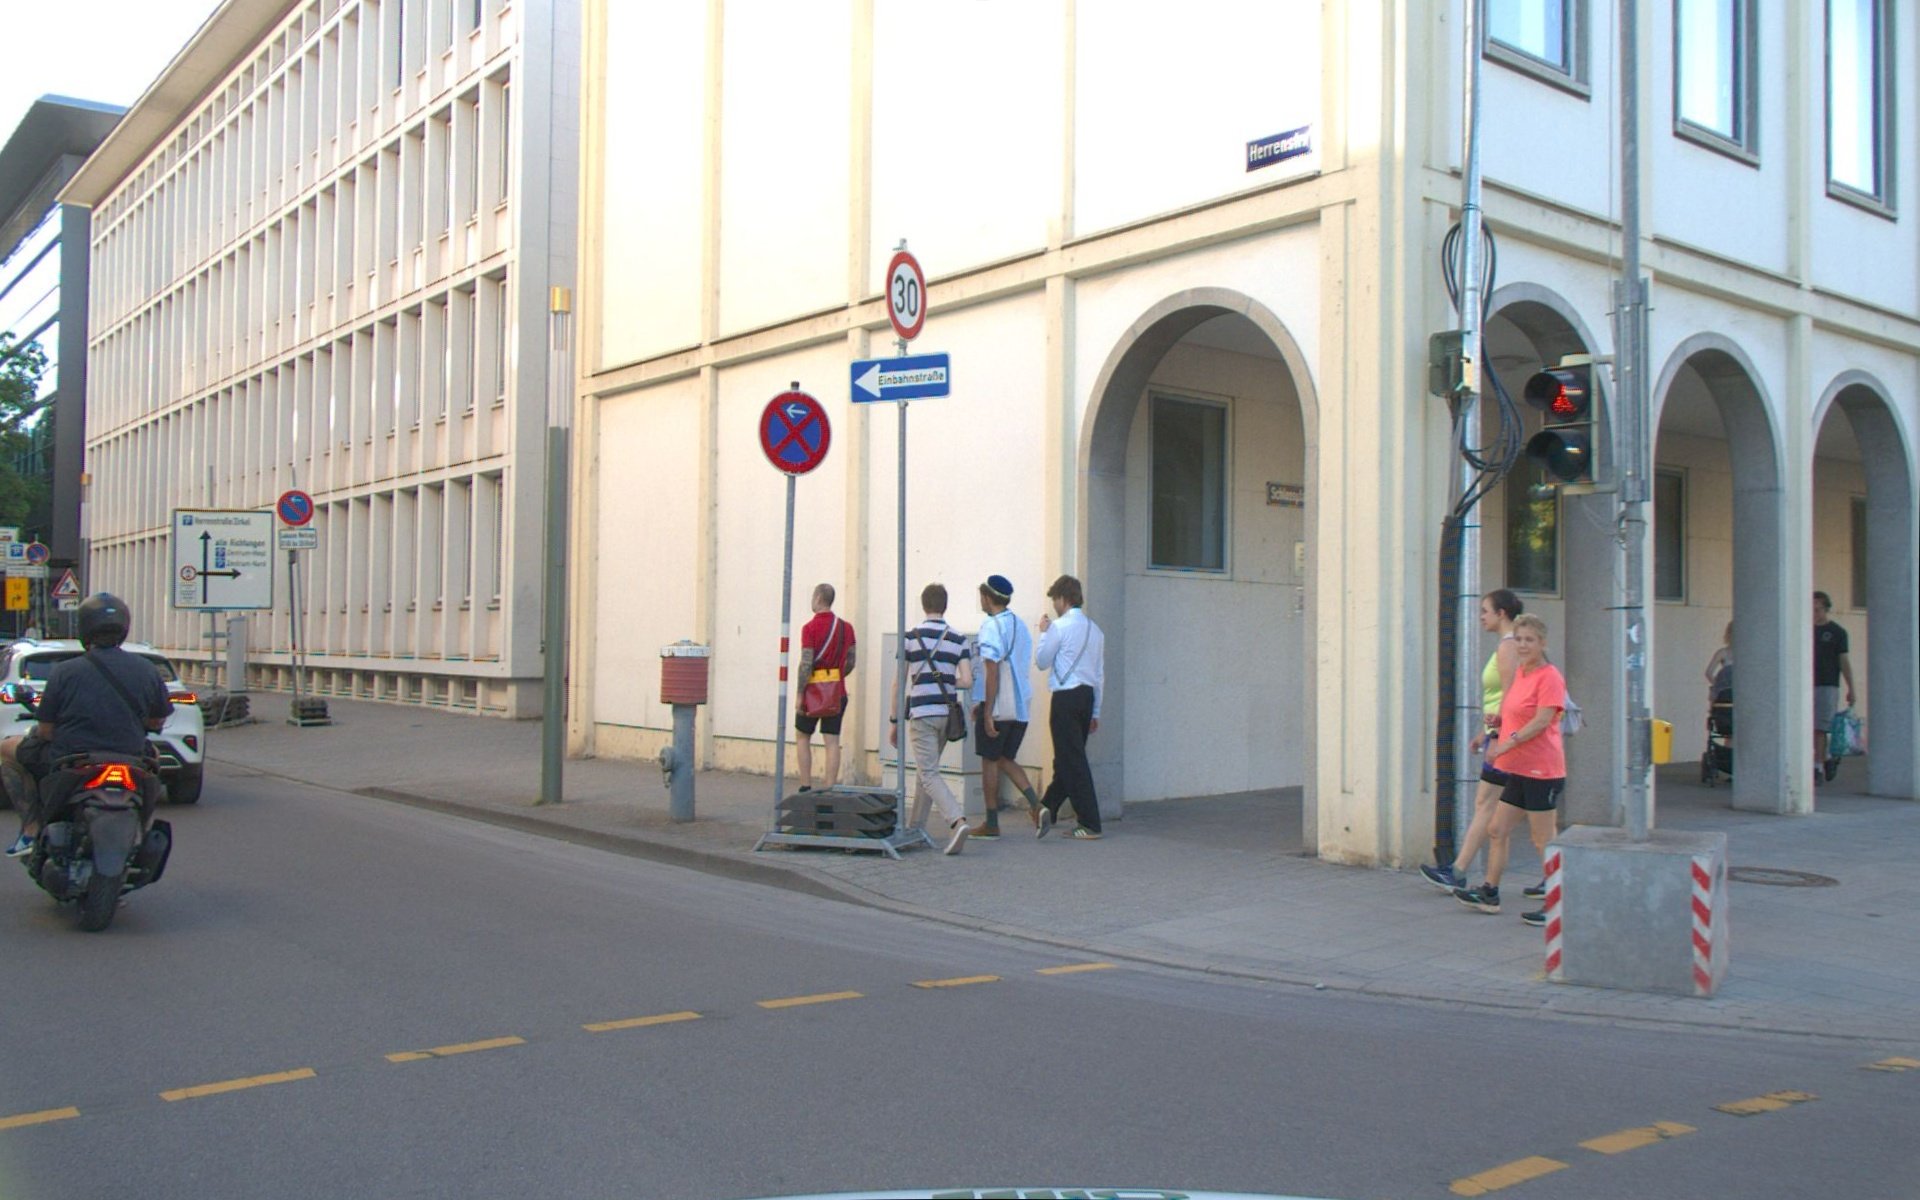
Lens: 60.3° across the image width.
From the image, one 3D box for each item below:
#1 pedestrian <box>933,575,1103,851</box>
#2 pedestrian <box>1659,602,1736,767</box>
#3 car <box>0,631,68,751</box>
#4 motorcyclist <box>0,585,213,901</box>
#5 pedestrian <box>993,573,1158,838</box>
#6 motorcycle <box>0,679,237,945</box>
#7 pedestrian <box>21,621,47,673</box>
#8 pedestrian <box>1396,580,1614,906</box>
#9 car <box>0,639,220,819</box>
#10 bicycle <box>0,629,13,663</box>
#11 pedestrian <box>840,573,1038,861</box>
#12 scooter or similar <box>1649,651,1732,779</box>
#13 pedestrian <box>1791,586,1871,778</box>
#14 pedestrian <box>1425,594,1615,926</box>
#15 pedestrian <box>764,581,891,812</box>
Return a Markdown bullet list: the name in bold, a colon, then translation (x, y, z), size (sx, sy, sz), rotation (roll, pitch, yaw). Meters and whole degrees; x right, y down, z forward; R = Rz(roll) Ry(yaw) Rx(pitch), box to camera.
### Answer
- **pedestrian**: translation (0.399, 0.753, 11.545), size (0.704, 1.808, 0.928), rotation (-2, 0, -38)
- **pedestrian**: translation (7.683, 0.864, 17.227), size (0.607, 1.652, 0.725), rotation (-1, 1, 32)
- **car**: translation (-13.944, 1.235, 23.388), size (1.761, 1.577, 4.052), rotation (0, -1, -37)
- **motorcyclist**: translation (-4.775, 0.737, 9.102), size (0.947, 1.587, 1.222), rotation (1, -2, -38)
- **pedestrian**: translation (0.827, 0.730, 11.960), size (0.704, 1.808, 0.928), rotation (-2, 0, -38)
- **motorcycle**: translation (-4.827, 1.072, 9.183), size (0.899, 1.204, 2.543), rotation (1, -2, -38)
- **pedestrian**: translation (-29.470, 1.484, 52.635), size (0.638, 1.629, 0.612), rotation (1, -1, -36)
- **pedestrian**: translation (3.113, 0.767, 9.473), size (0.669, 1.739, 0.954), rotation (-2, 1, -38)
- **car**: translation (-8.538, 1.150, 15.921), size (1.843, 1.498, 3.950), rotation (3, -3, -35)
- **bicycle**: translation (-36.528, 1.716, 62.134), size (1.539, 1.272, 0.549), rotation (0, -1, -18)
- **pedestrian**: translation (-0.161, 0.759, 11.357), size (0.709, 1.833, 1.230), rotation (-2, 0, -38)
- **scooter or similar**: translation (7.290, 1.127, 16.482), size (0.607, 1.178, 0.956), rotation (-1, 1, 32)
- **pedestrian**: translation (8.801, 0.809, 16.698), size (0.629, 1.872, 0.725), rotation (-1, 1, 33)
- **pedestrian**: translation (2.977, 0.807, 8.809), size (0.614, 1.652, 0.717), rotation (-2, 1, -39)
- **pedestrian**: translation (-1.104, 0.775, 13.751), size (0.704, 1.833, 0.765), rotation (-2, 0, -39)
